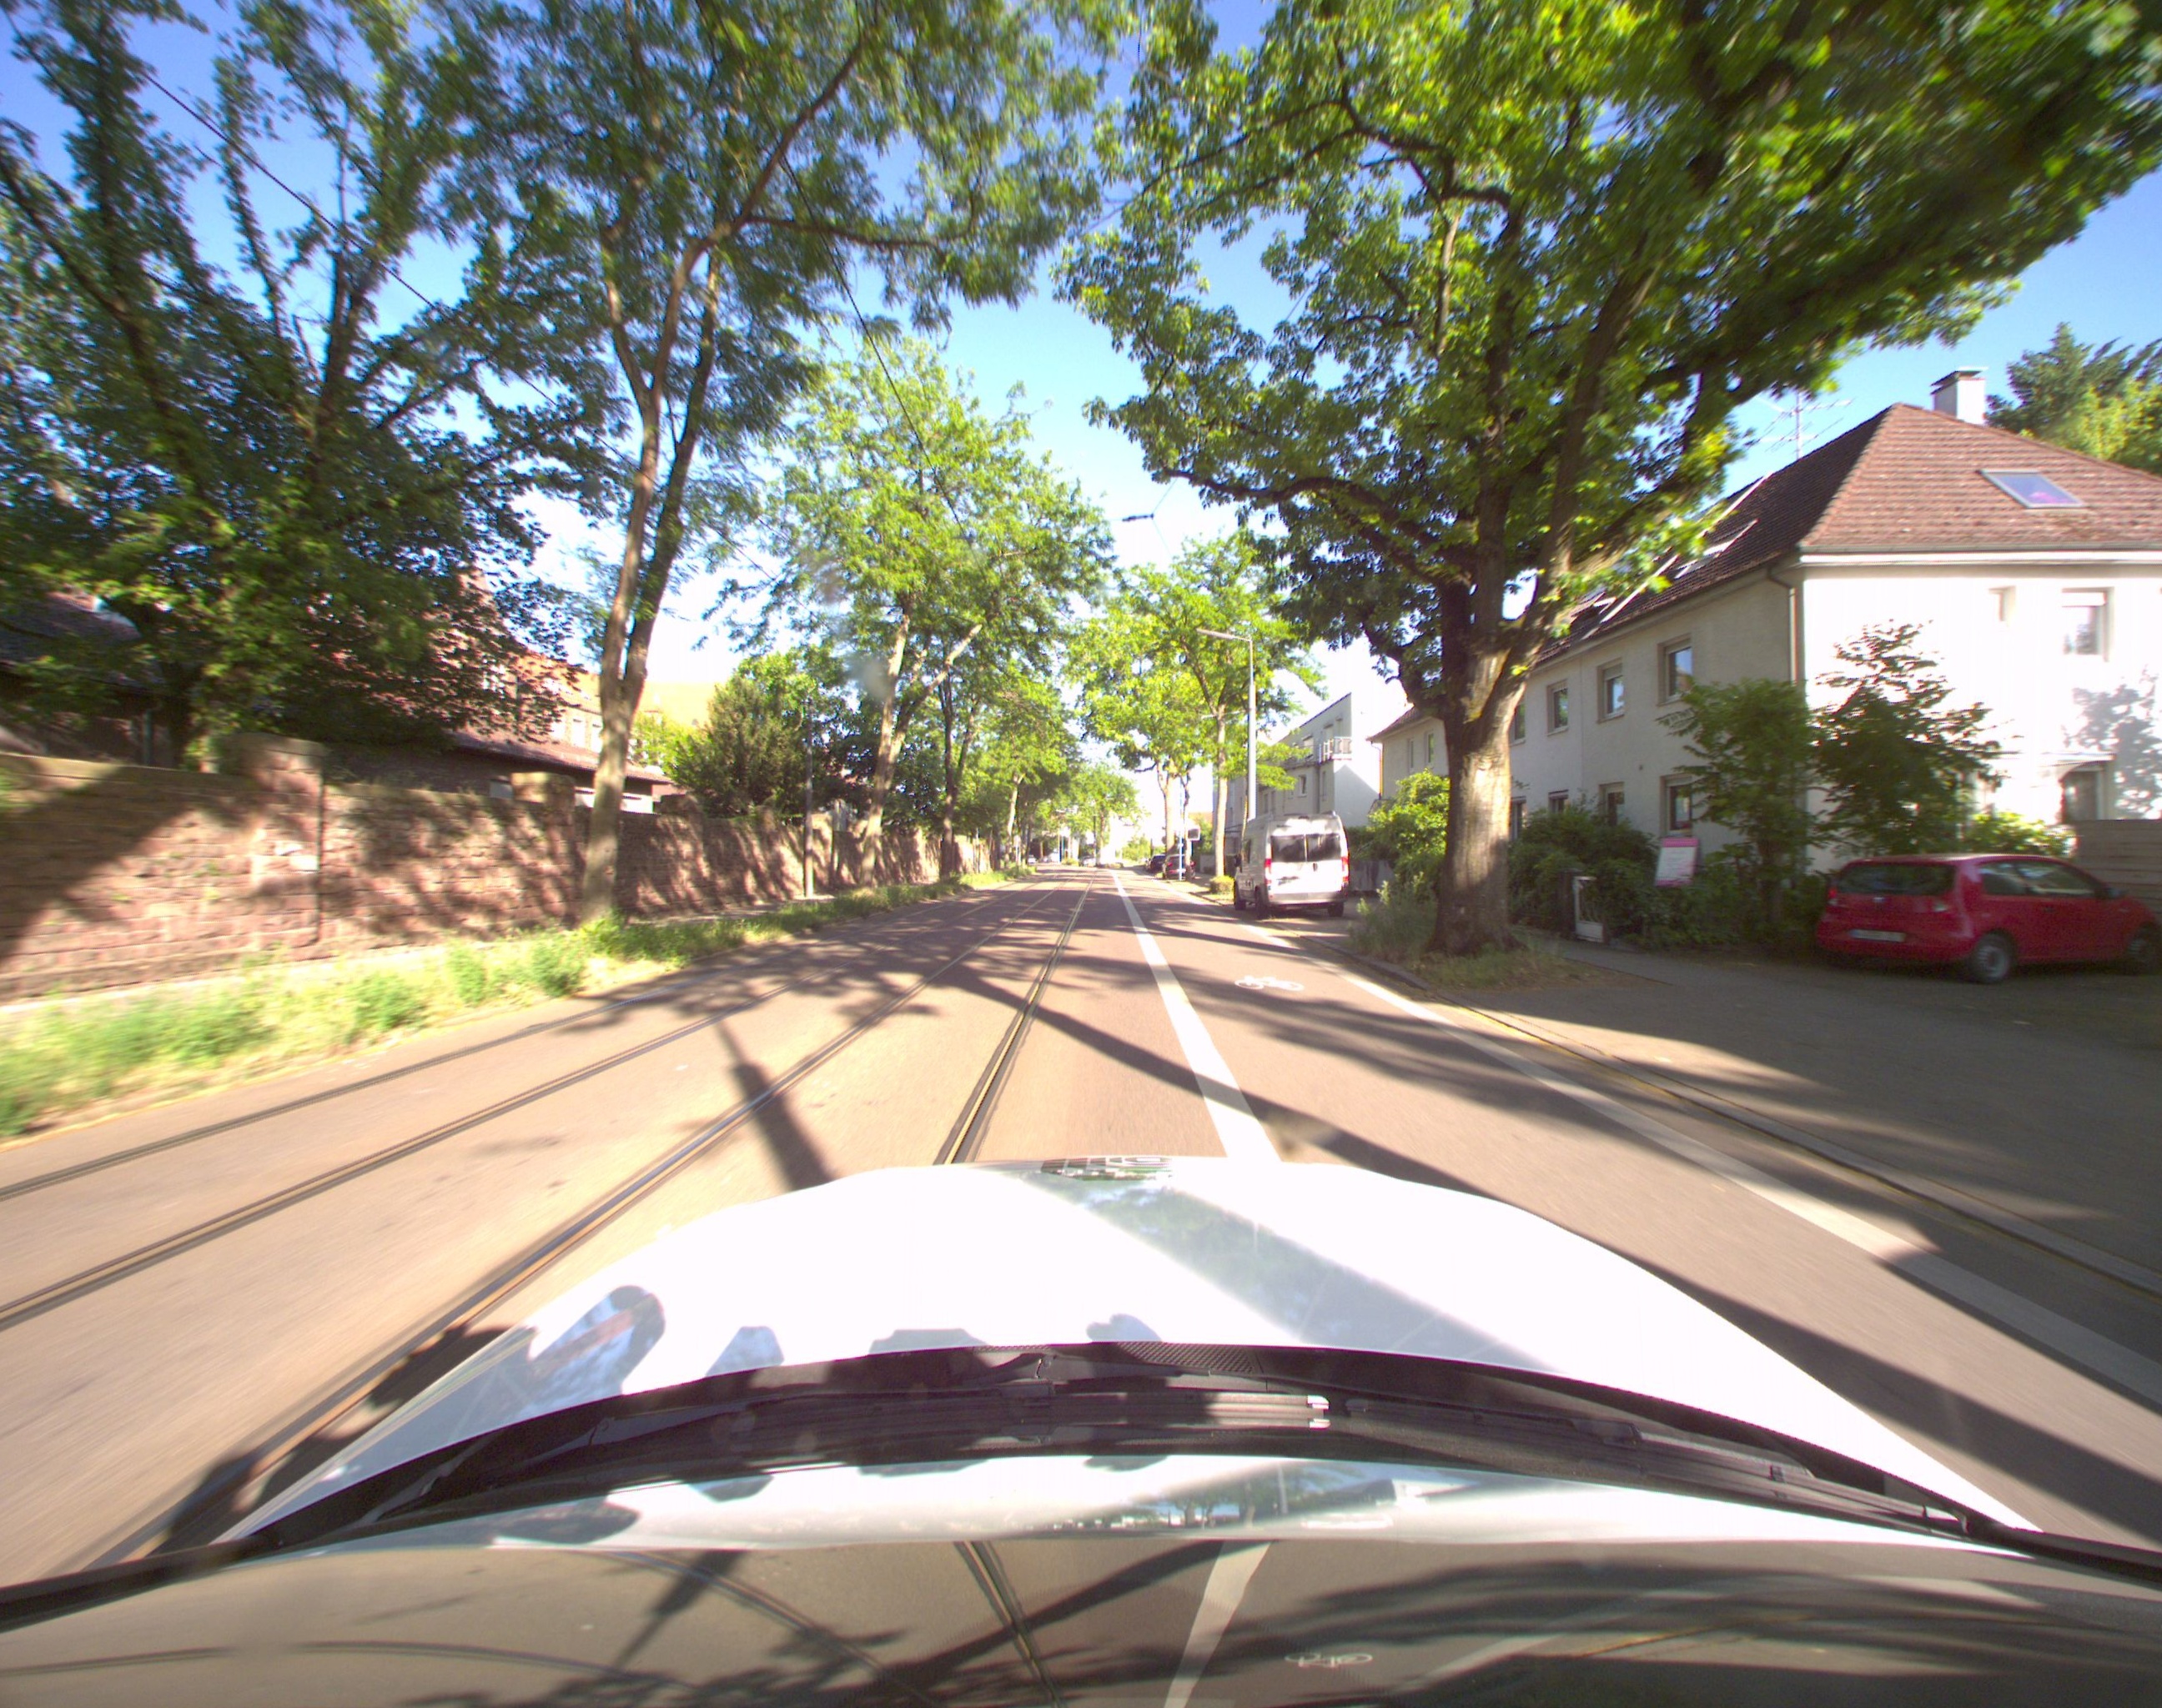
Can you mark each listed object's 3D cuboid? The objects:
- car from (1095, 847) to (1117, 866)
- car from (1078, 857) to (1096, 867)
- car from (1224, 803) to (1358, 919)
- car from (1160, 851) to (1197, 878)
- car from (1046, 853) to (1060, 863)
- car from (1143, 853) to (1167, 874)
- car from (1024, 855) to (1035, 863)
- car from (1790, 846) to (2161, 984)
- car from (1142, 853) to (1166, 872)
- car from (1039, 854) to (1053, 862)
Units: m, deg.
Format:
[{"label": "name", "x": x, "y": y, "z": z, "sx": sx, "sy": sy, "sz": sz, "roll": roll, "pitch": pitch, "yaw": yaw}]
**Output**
[{"label": "car", "x": 3.282, "y": 0.338, "z": 107.627, "sx": 1.994, "sy": 2.458, "sz": 4.491, "roll": -1, "pitch": 0, "yaw": -11}, {"label": "car", "x": 0.954, "y": 1.249, "z": 125.496, "sx": 2.003, "sy": 1.560, "sz": 4.376, "roll": -1, "pitch": 0, "yaw": -11}, {"label": "car", "x": 5.423, "y": 0.178, "z": 21.928, "sx": 2.237, "sy": 2.654, "sz": 5.587, "roll": -2, "pitch": 0, "yaw": 1}, {"label": "car", "x": 6.421, "y": 0.665, "z": 54.037, "sx": 1.995, "sy": 1.675, "sz": 4.393, "roll": -2, "pitch": 0, "yaw": 1}, {"label": "car", "x": -6.074, "y": 0.883, "z": 175.538, "sx": 2.007, "sy": 1.910, "sz": 4.368, "roll": -2, "pitch": 0, "yaw": -16}, {"label": "car", "x": 6.515, "y": 0.827, "z": 71.584, "sx": 1.993, "sy": 1.675, "sz": 4.399, "roll": -2, "pitch": 0, "yaw": 5}, {"label": "car", "x": -10.328, "y": 0.998, "z": 163.584, "sx": 1.861, "sy": 1.675, "sz": 4.170, "roll": -1, "pitch": 0, "yaw": -2}, {"label": "car", "x": 11.148, "y": 0.674, "z": 10.190, "sx": 3.399, "sy": 1.436, "sz": 1.728, "roll": -2, "pitch": 0, "yaw": -12}, {"label": "car", "x": 6.896, "y": 0.803, "z": 77.306, "sx": 1.996, "sy": 1.675, "sz": 4.393, "roll": -2, "pitch": 0, "yaw": 1}, {"label": "car", "x": -7.810, "y": 0.933, "z": 181.319, "sx": 2.007, "sy": 1.675, "sz": 4.150, "roll": -2, "pitch": 0, "yaw": -16}]
